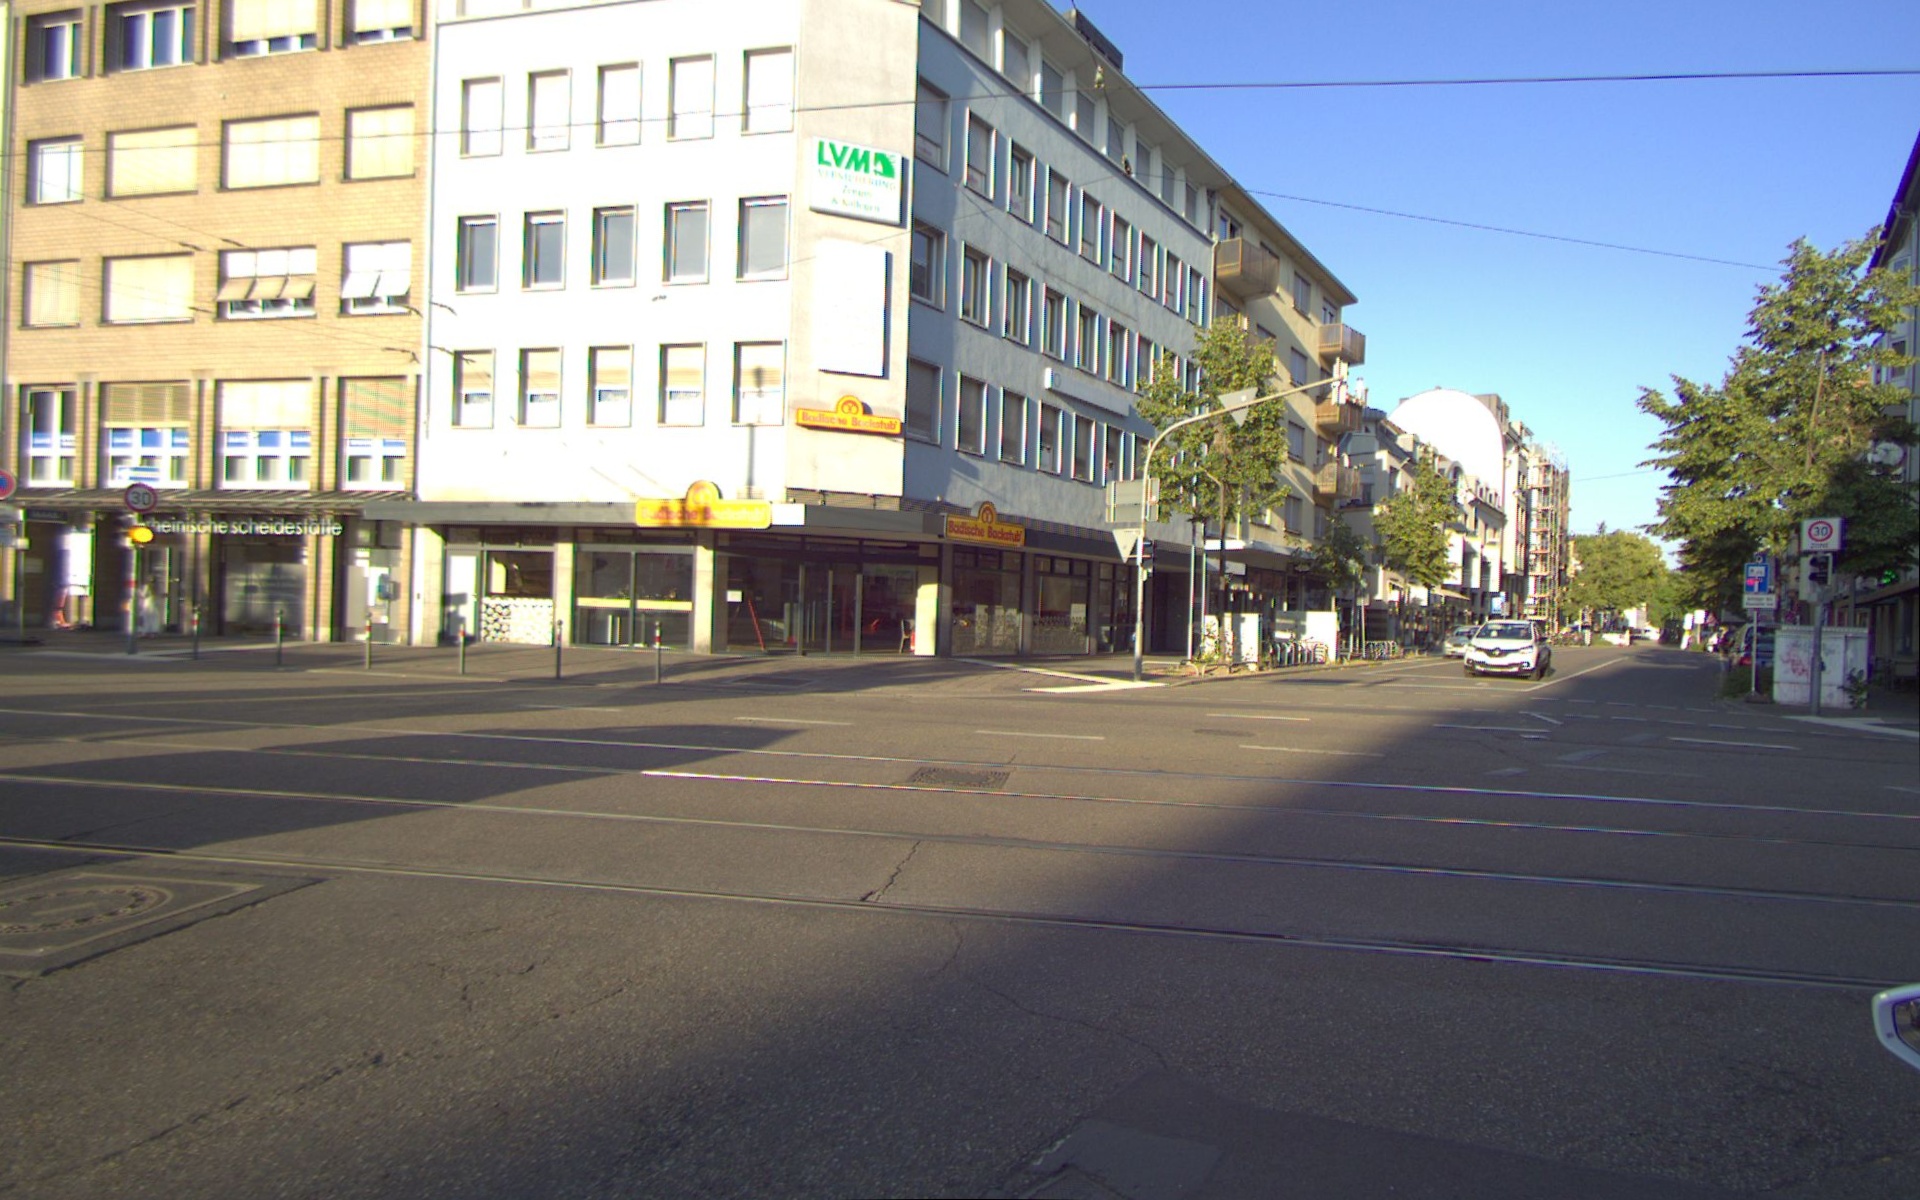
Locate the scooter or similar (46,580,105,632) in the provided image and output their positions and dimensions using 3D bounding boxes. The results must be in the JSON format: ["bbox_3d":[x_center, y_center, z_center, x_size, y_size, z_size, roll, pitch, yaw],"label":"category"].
[{"bbox_3d":[-22.330,0.143,25.356,1.437,1.275,0.395,1,1,16],"label":"scooter or similar"}]

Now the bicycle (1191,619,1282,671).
[{"bbox_3d":[7.756,1.258,28.223,2.334,1.269,0.638,4,0,34],"label":"bicycle"}]

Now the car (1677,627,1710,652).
[{"bbox_3d":[57.645,3.122,78.901,1.829,1.817,3.982,2,0,40],"label":"car"}]

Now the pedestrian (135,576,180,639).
[{"bbox_3d":[-19.209,0.171,24.058,0.613,1.492,0.543,1,3,-2],"label":"pedestrian"}]

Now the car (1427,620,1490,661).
[{"bbox_3d":[21.056,1.683,42.379,1.810,1.577,3.767,1,-1,36],"label":"car"}]

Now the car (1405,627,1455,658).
[{"bbox_3d":[25.611,2.308,54.637,1.810,1.577,3.768,0,-2,36],"label":"car"}]

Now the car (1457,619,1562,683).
[{"bbox_3d":[15.198,1.381,27.675,2.080,1.577,4.000,0,-2,36],"label":"car"}]

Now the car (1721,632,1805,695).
[{"bbox_3d":[21.337,1.635,26.682,1.620,1.463,3.590,2,0,40],"label":"car"}]

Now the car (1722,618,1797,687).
[{"bbox_3d":[25.306,1.605,31.771,1.620,1.898,3.590,5,2,40],"label":"car"}]
